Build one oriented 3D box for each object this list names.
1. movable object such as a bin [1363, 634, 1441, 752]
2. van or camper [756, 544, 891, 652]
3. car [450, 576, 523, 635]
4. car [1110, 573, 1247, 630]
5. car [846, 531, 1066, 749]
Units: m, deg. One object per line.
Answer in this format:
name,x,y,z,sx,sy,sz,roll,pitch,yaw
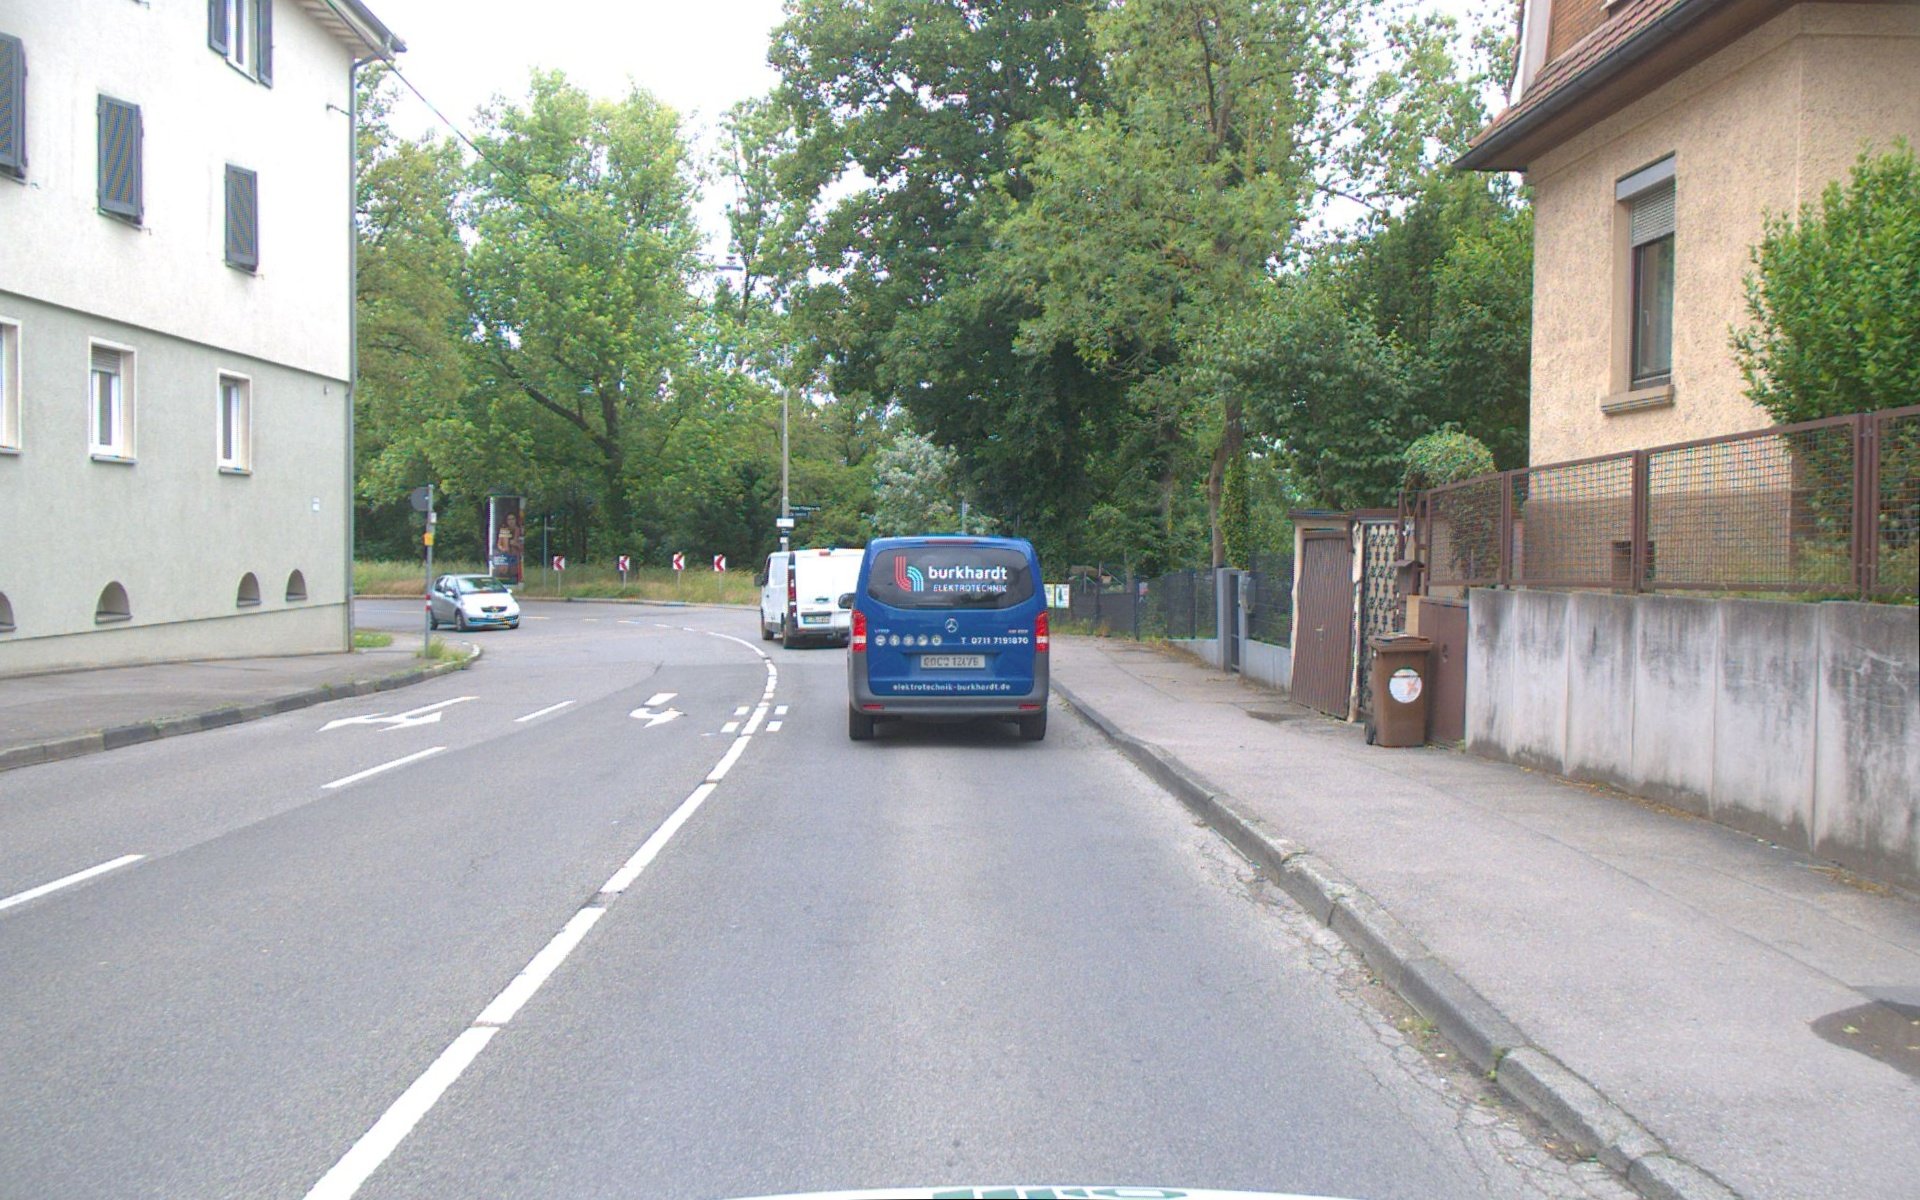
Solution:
movable object such as a bin,3.749,0.779,14.062,0.452,0.940,0.566,-3,1,-3
van or camper,-2.948,-0.075,34.753,1.986,1.990,4.878,-3,1,-14
car,-13.990,0.140,48.764,1.698,1.633,3.951,-1,1,-21
car,6.593,0.036,49.945,3.604,1.422,1.822,5,-1,-19
car,-0.178,0.319,16.528,1.876,1.869,4.290,1,1,-4
